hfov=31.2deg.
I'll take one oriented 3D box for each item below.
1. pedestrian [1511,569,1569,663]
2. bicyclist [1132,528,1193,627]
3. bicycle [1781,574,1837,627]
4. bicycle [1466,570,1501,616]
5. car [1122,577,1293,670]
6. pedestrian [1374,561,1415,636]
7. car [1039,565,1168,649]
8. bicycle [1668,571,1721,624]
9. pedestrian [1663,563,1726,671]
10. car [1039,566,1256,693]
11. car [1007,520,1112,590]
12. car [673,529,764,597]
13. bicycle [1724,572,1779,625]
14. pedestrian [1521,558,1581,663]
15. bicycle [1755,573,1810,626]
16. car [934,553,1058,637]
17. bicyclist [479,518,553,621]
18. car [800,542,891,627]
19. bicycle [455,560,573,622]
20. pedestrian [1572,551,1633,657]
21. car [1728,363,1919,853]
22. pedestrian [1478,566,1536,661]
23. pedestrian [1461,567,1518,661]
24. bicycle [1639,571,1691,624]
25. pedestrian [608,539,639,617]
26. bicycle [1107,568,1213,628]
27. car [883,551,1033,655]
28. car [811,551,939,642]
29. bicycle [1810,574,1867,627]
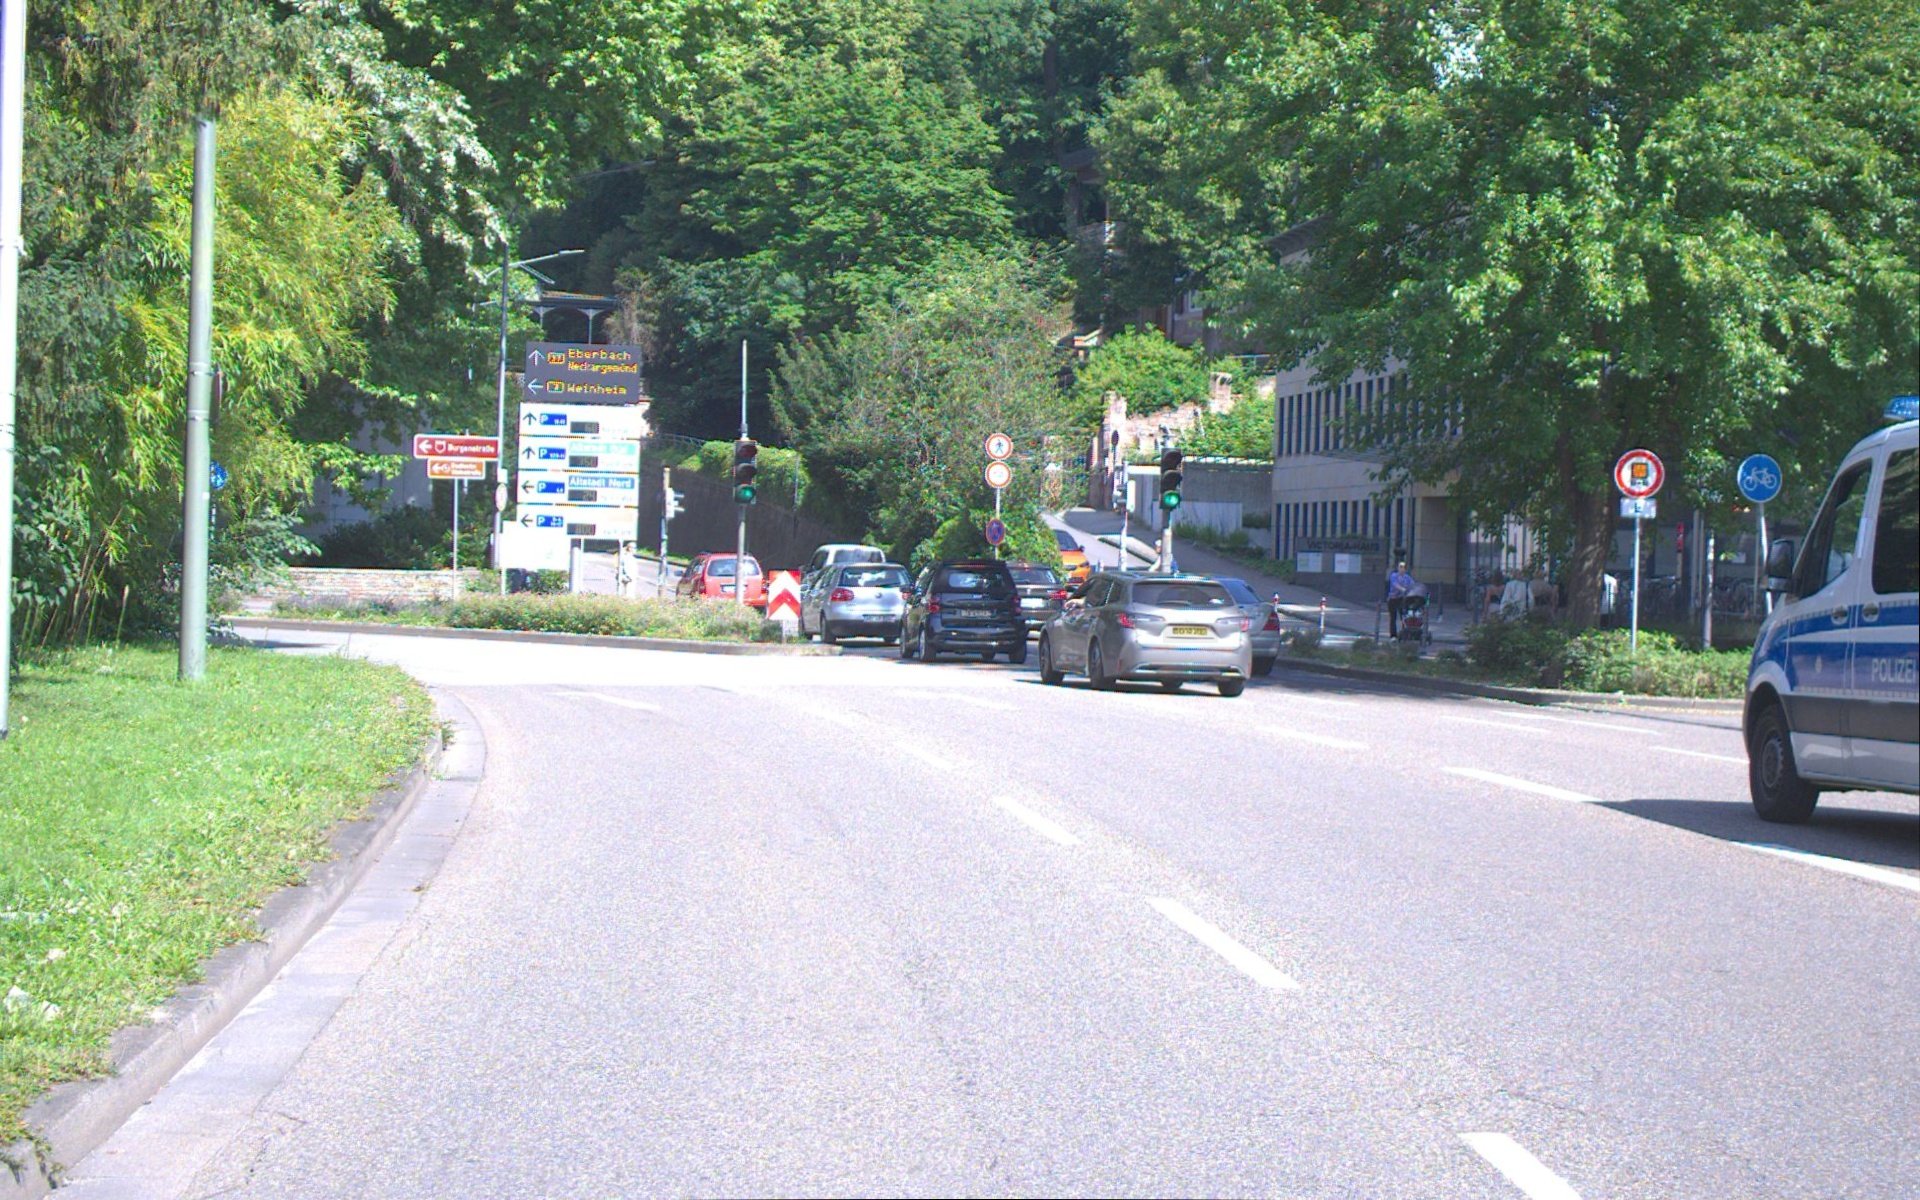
[{"bbox_3d":[10.523,0.282,62.416,0.771,1.657,0.829,2,1,-6],"label":"pedestrian"},{"bbox_3d":[4.051,-0.444,68.712,1.126,1.926,0.748,2,0,5],"label":"bicyclist"},{"bbox_3d":[18.086,-0.006,73.231,0.537,1.081,1.835,1,1,-6],"label":"bicycle"},{"bbox_3d":[11.895,-0.159,78.108,0.405,1.009,1.341,1,1,-8],"label":"bicycle"},{"bbox_3d":[3.596,0.326,50.568,1.756,1.209,3.495,2,1,-8],"label":"car"},{"bbox_3d":[8.533,-0.036,67.456,0.489,1.453,0.734,1,0,-20],"label":"pedestrian"},{"bbox_3d":[2.684,0.112,64.956,1.756,1.456,3.495,2,1,-8],"label":"car"},{"bbox_3d":[15.600,-0.054,73.043,0.537,1.081,1.835,1,1,-6],"label":"bicycle"},{"bbox_3d":[12.953,0.298,60.639,0.771,1.848,0.830,2,1,-9],"label":"pedestrian"},{"bbox_3d":[2.164,0.314,40.640,1.755,1.329,3.802,2,1,-9],"label":"car"},{"bbox_3d":[2.477,-1.133,86.510,1.931,1.691,4.001,1,0,-8],"label":"car"},{"bbox_3d":[-5.512,-0.853,78.113,1.756,1.456,3.495,2,1,-8],"label":"car"},{"bbox_3d":[16.820,-0.030,73.066,0.537,1.081,1.835,1,1,-6],"label":"bicycle"},{"bbox_3d":[10.579,0.185,61.555,0.771,1.848,0.829,2,1,-7],"label":"pedestrian"},{"bbox_3d":[17.494,-0.017,73.147,0.537,1.081,1.835,1,1,-6],"label":"bicycle"},{"bbox_3d":[0.649,-0.118,64.751,1.756,1.456,3.647,2,1,-8],"label":"car"},{"bbox_3d":[-8.509,-0.584,65.910,1.127,1.926,0.747,2,0,17],"label":"bicyclist"},{"bbox_3d":[-2.779,-0.385,82.612,1.756,1.931,3.495,2,1,-8],"label":"car"},{"bbox_3d":[-8.553,-0.175,65.923,2.078,1.109,0.756,2,1,17],"label":"bicycle"},{"bbox_3d":[11.397,0.066,61.015,0.771,1.848,0.830,2,1,-9],"label":"pedestrian"},{"bbox_3d":[5.881,0.061,18.312,2.073,2.500,4.930,2,0,-4],"label":"car"},{"bbox_3d":[9.810,0.233,61.645,0.771,1.657,0.829,2,1,-7],"label":"pedestrian"},{"bbox_3d":[9.666,0.249,62.783,0.771,1.657,0.829,2,1,-7],"label":"pedestrian"},{"bbox_3d":[14.959,-0.067,72.985,0.537,1.081,1.835,1,1,-6],"label":"bicycle"},{"bbox_3d":[-7.019,-0.465,71.761,0.547,1.615,0.634,1,1,1],"label":"pedestrian"},{"bbox_3d":[4.002,-0.042,68.732,2.077,1.109,0.757,2,1,4],"label":"bicycle"},{"bbox_3d":[-0.062,0.019,52.516,1.756,1.456,3.495,2,1,-8],"label":"car"},{"bbox_3d":[-1.519,-0.077,59.957,1.756,1.456,3.647,2,1,-8],"label":"car"},{"bbox_3d":[18.728,0.006,73.316,0.537,1.081,1.835,1,1,-6],"label":"bicycle"}]
